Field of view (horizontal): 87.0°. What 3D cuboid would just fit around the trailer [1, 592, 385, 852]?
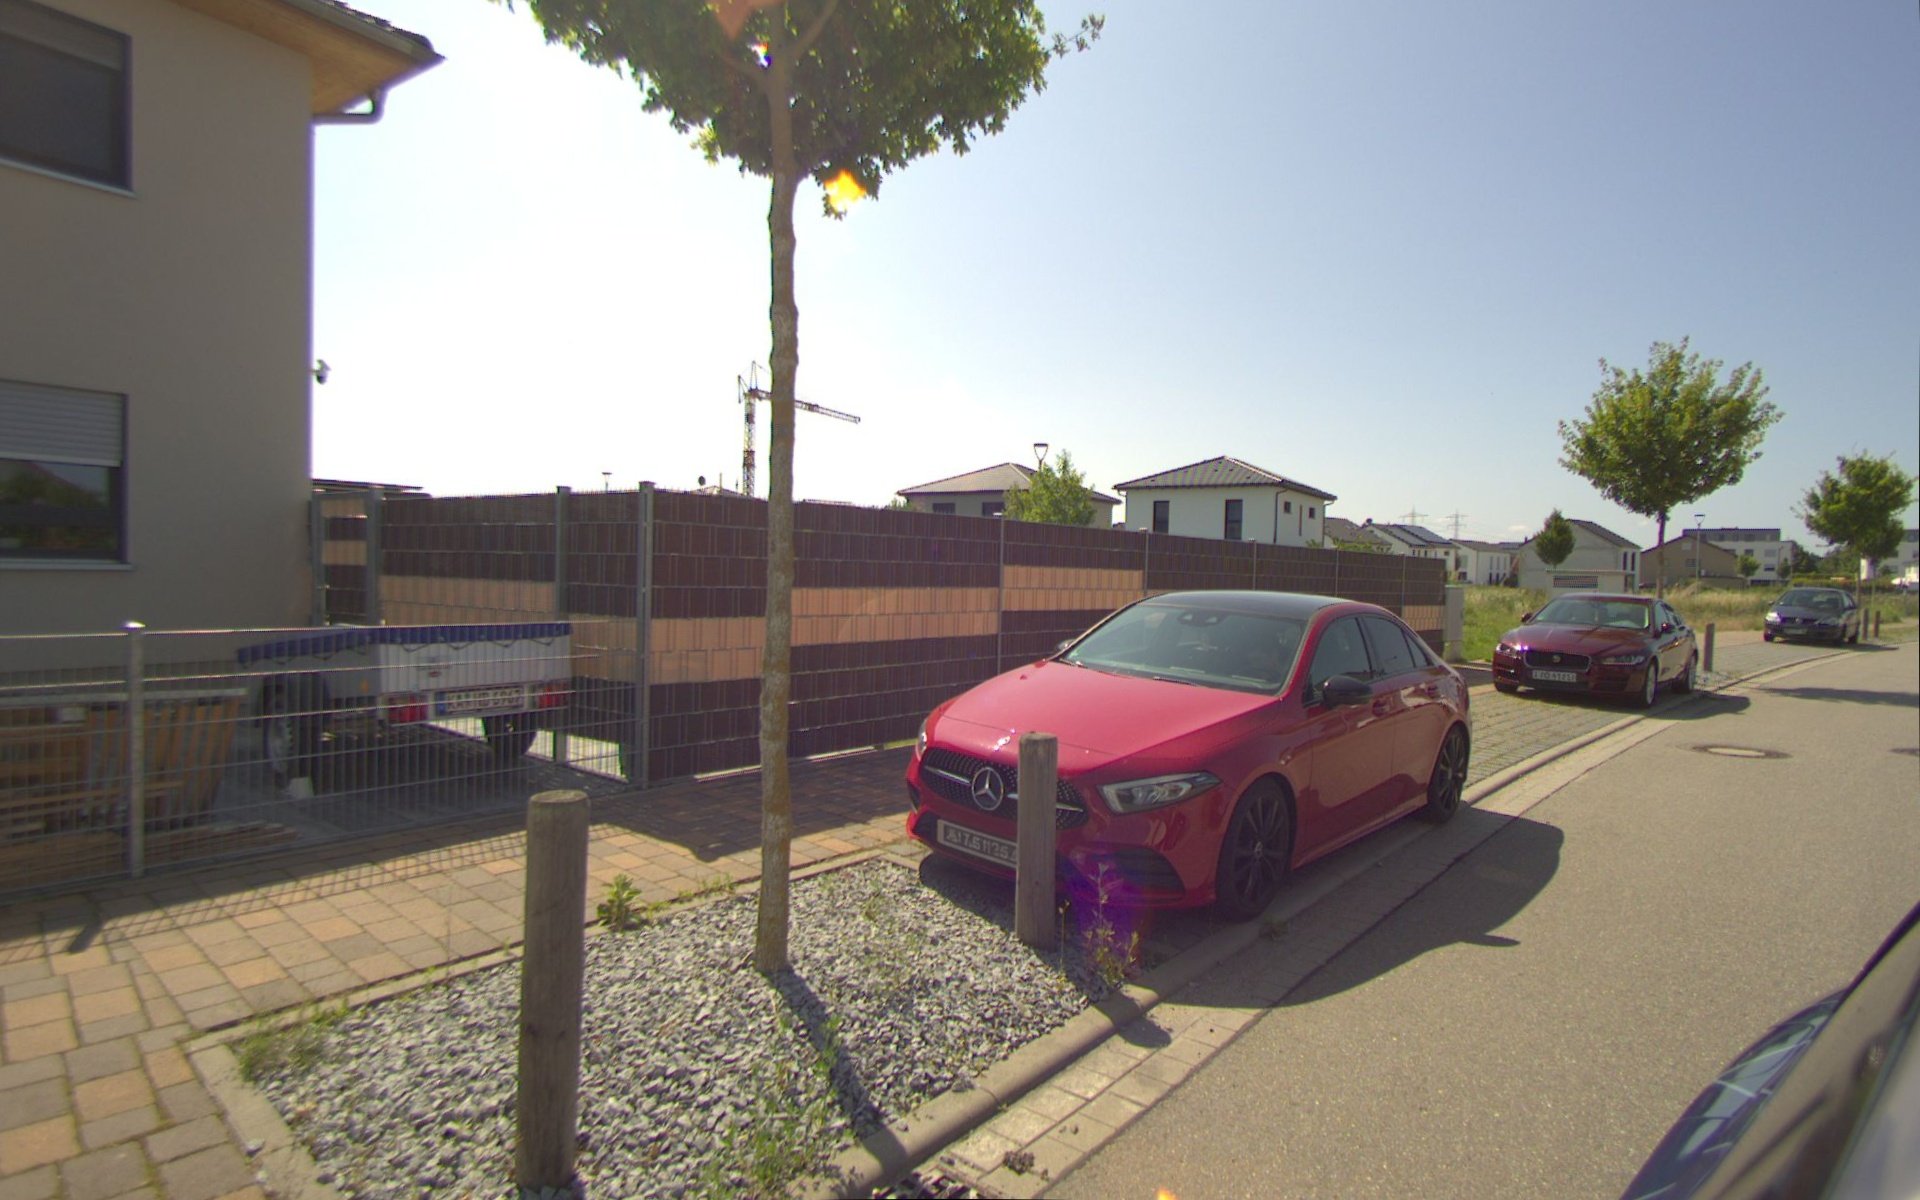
[{"bbox_3d":[-4.258,0.526,5.556,2.233,0.971,1.140,6,4,38],"label":"trailer"}]

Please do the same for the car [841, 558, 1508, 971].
[{"bbox_3d":[1.586,0.550,5.917,1.763,1.455,4.450,4,4,43],"label":"car"}]

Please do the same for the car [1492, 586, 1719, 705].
[{"bbox_3d":[9.300,0.515,14.417,4.501,1.380,1.756,-1,3,-45],"label":"car"}]

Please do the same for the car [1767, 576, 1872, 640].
[{"bbox_3d":[22.947,0.173,26.991,3.612,1.493,1.601,0,4,-42],"label":"car"}]
